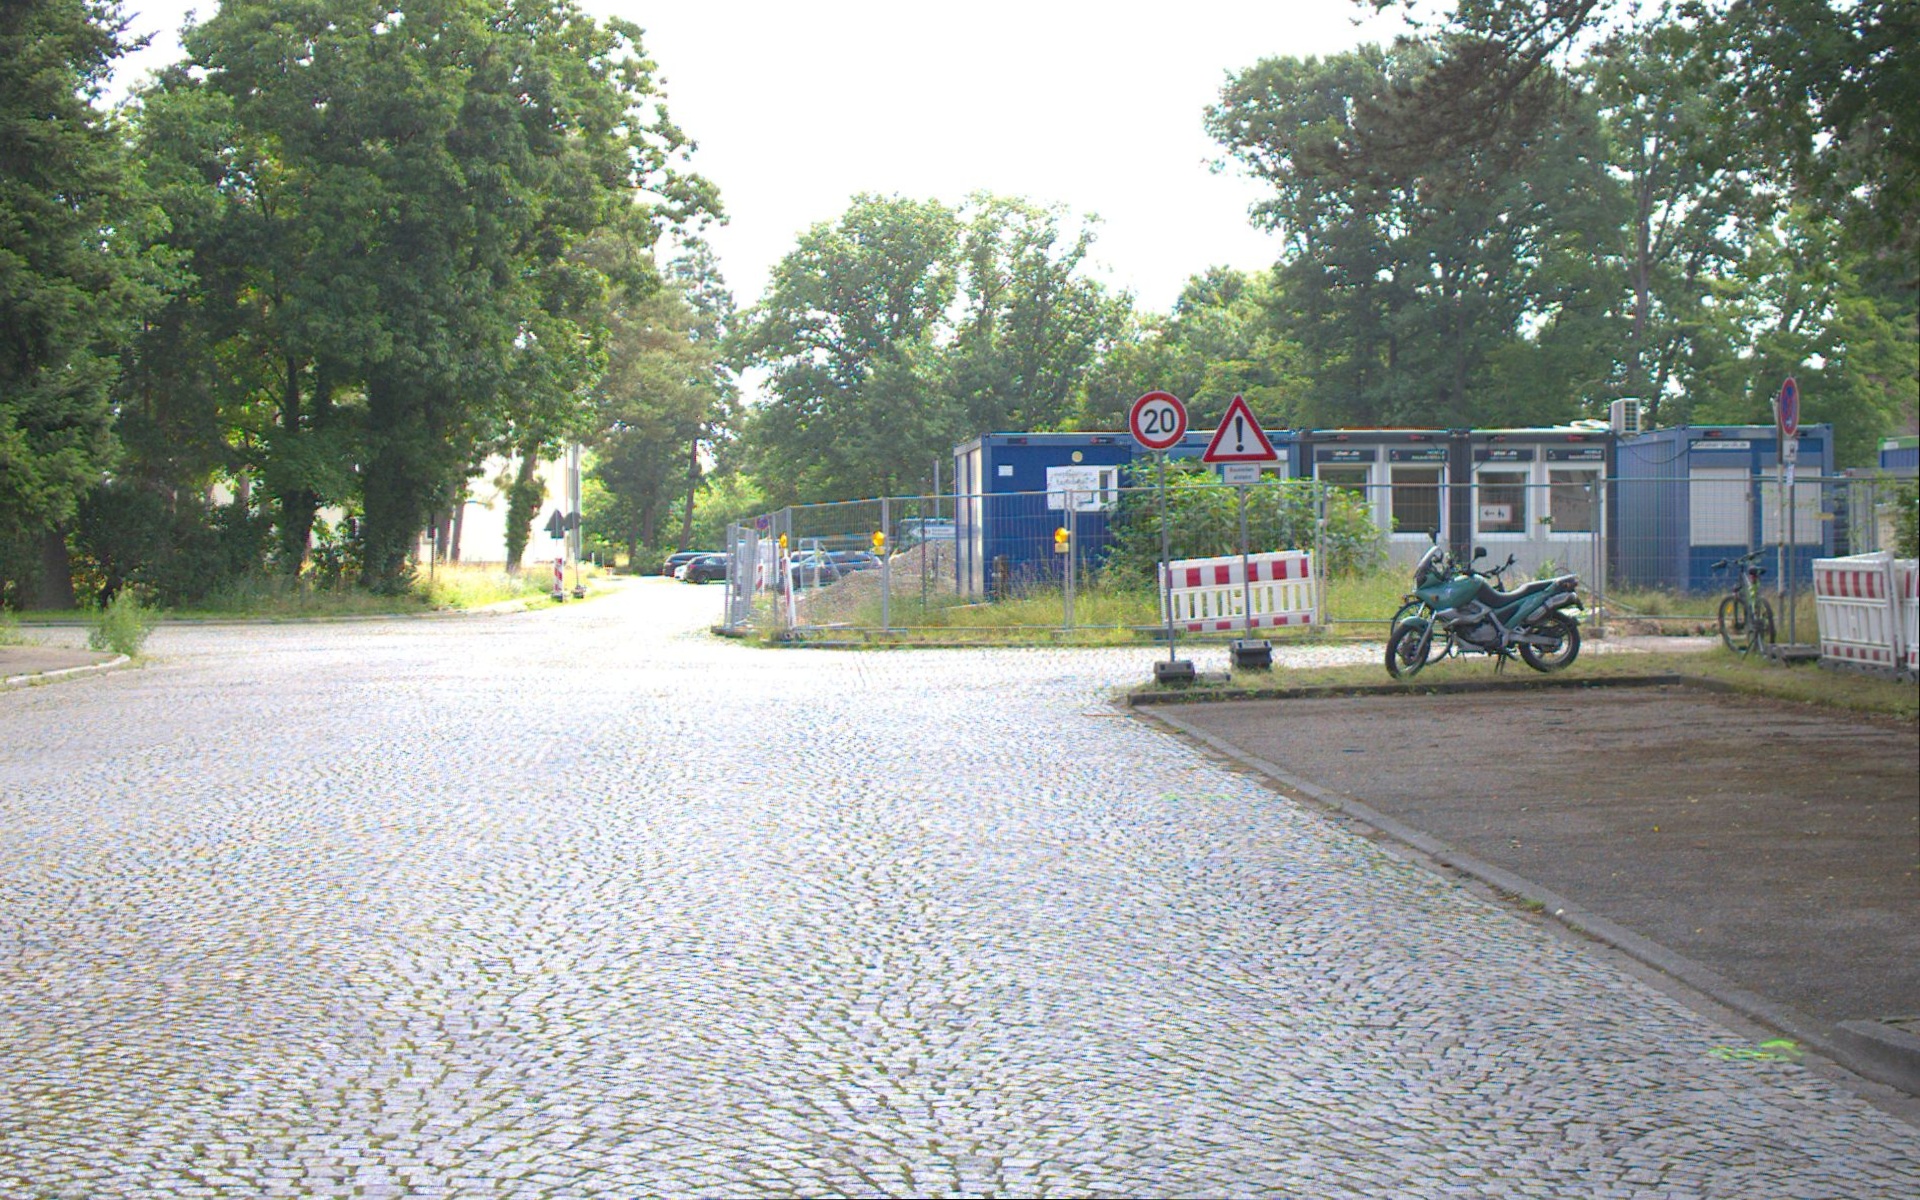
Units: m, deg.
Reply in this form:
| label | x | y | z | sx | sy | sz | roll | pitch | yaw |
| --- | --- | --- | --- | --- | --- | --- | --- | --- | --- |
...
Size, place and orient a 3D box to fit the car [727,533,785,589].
| label | x | y | z | sx | sy | sz | roll | pitch | yaw |
| --- | --- | --- | --- | --- | --- | --- | --- | --- | --- |
| car | -7.448 | -1.395 | 125.284 | 1.993 | 2.007 | 4.092 | 0 | 0 | -5 |

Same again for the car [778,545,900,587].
| label | x | y | z | sx | sy | sz | roll | pitch | yaw |
| --- | --- | --- | --- | --- | --- | --- | --- | --- | --- |
| car | -4.606 | -1.289 | 131.311 | 4.403 | 1.505 | 2.000 | 1 | 0 | 5 |

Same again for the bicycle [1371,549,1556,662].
| label | x | y | z | sx | sy | sz | roll | pitch | yaw |
| --- | --- | --- | --- | --- | --- | --- | --- | --- | --- |
| bicycle | 5.480 | 0.063 | 37.403 | 1.900 | 1.193 | 0.655 | -1 | 1 | 16 |

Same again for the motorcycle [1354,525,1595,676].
| label | x | y | z | sx | sy | sz | roll | pitch | yaw |
| --- | --- | --- | --- | --- | --- | --- | --- | --- | --- |
| motorcycle | 5.214 | -0.005 | 34.907 | 2.276 | 1.480 | 0.757 | -1 | 1 | -8 |

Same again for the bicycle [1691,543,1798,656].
| label | x | y | z | sx | sy | sz | roll | pitch | yaw |
| --- | --- | --- | --- | --- | --- | --- | --- | --- | --- |
| bicycle | 8.328 | -0.020 | 36.569 | 0.642 | 1.165 | 1.905 | -1 | 1 | -1 |
